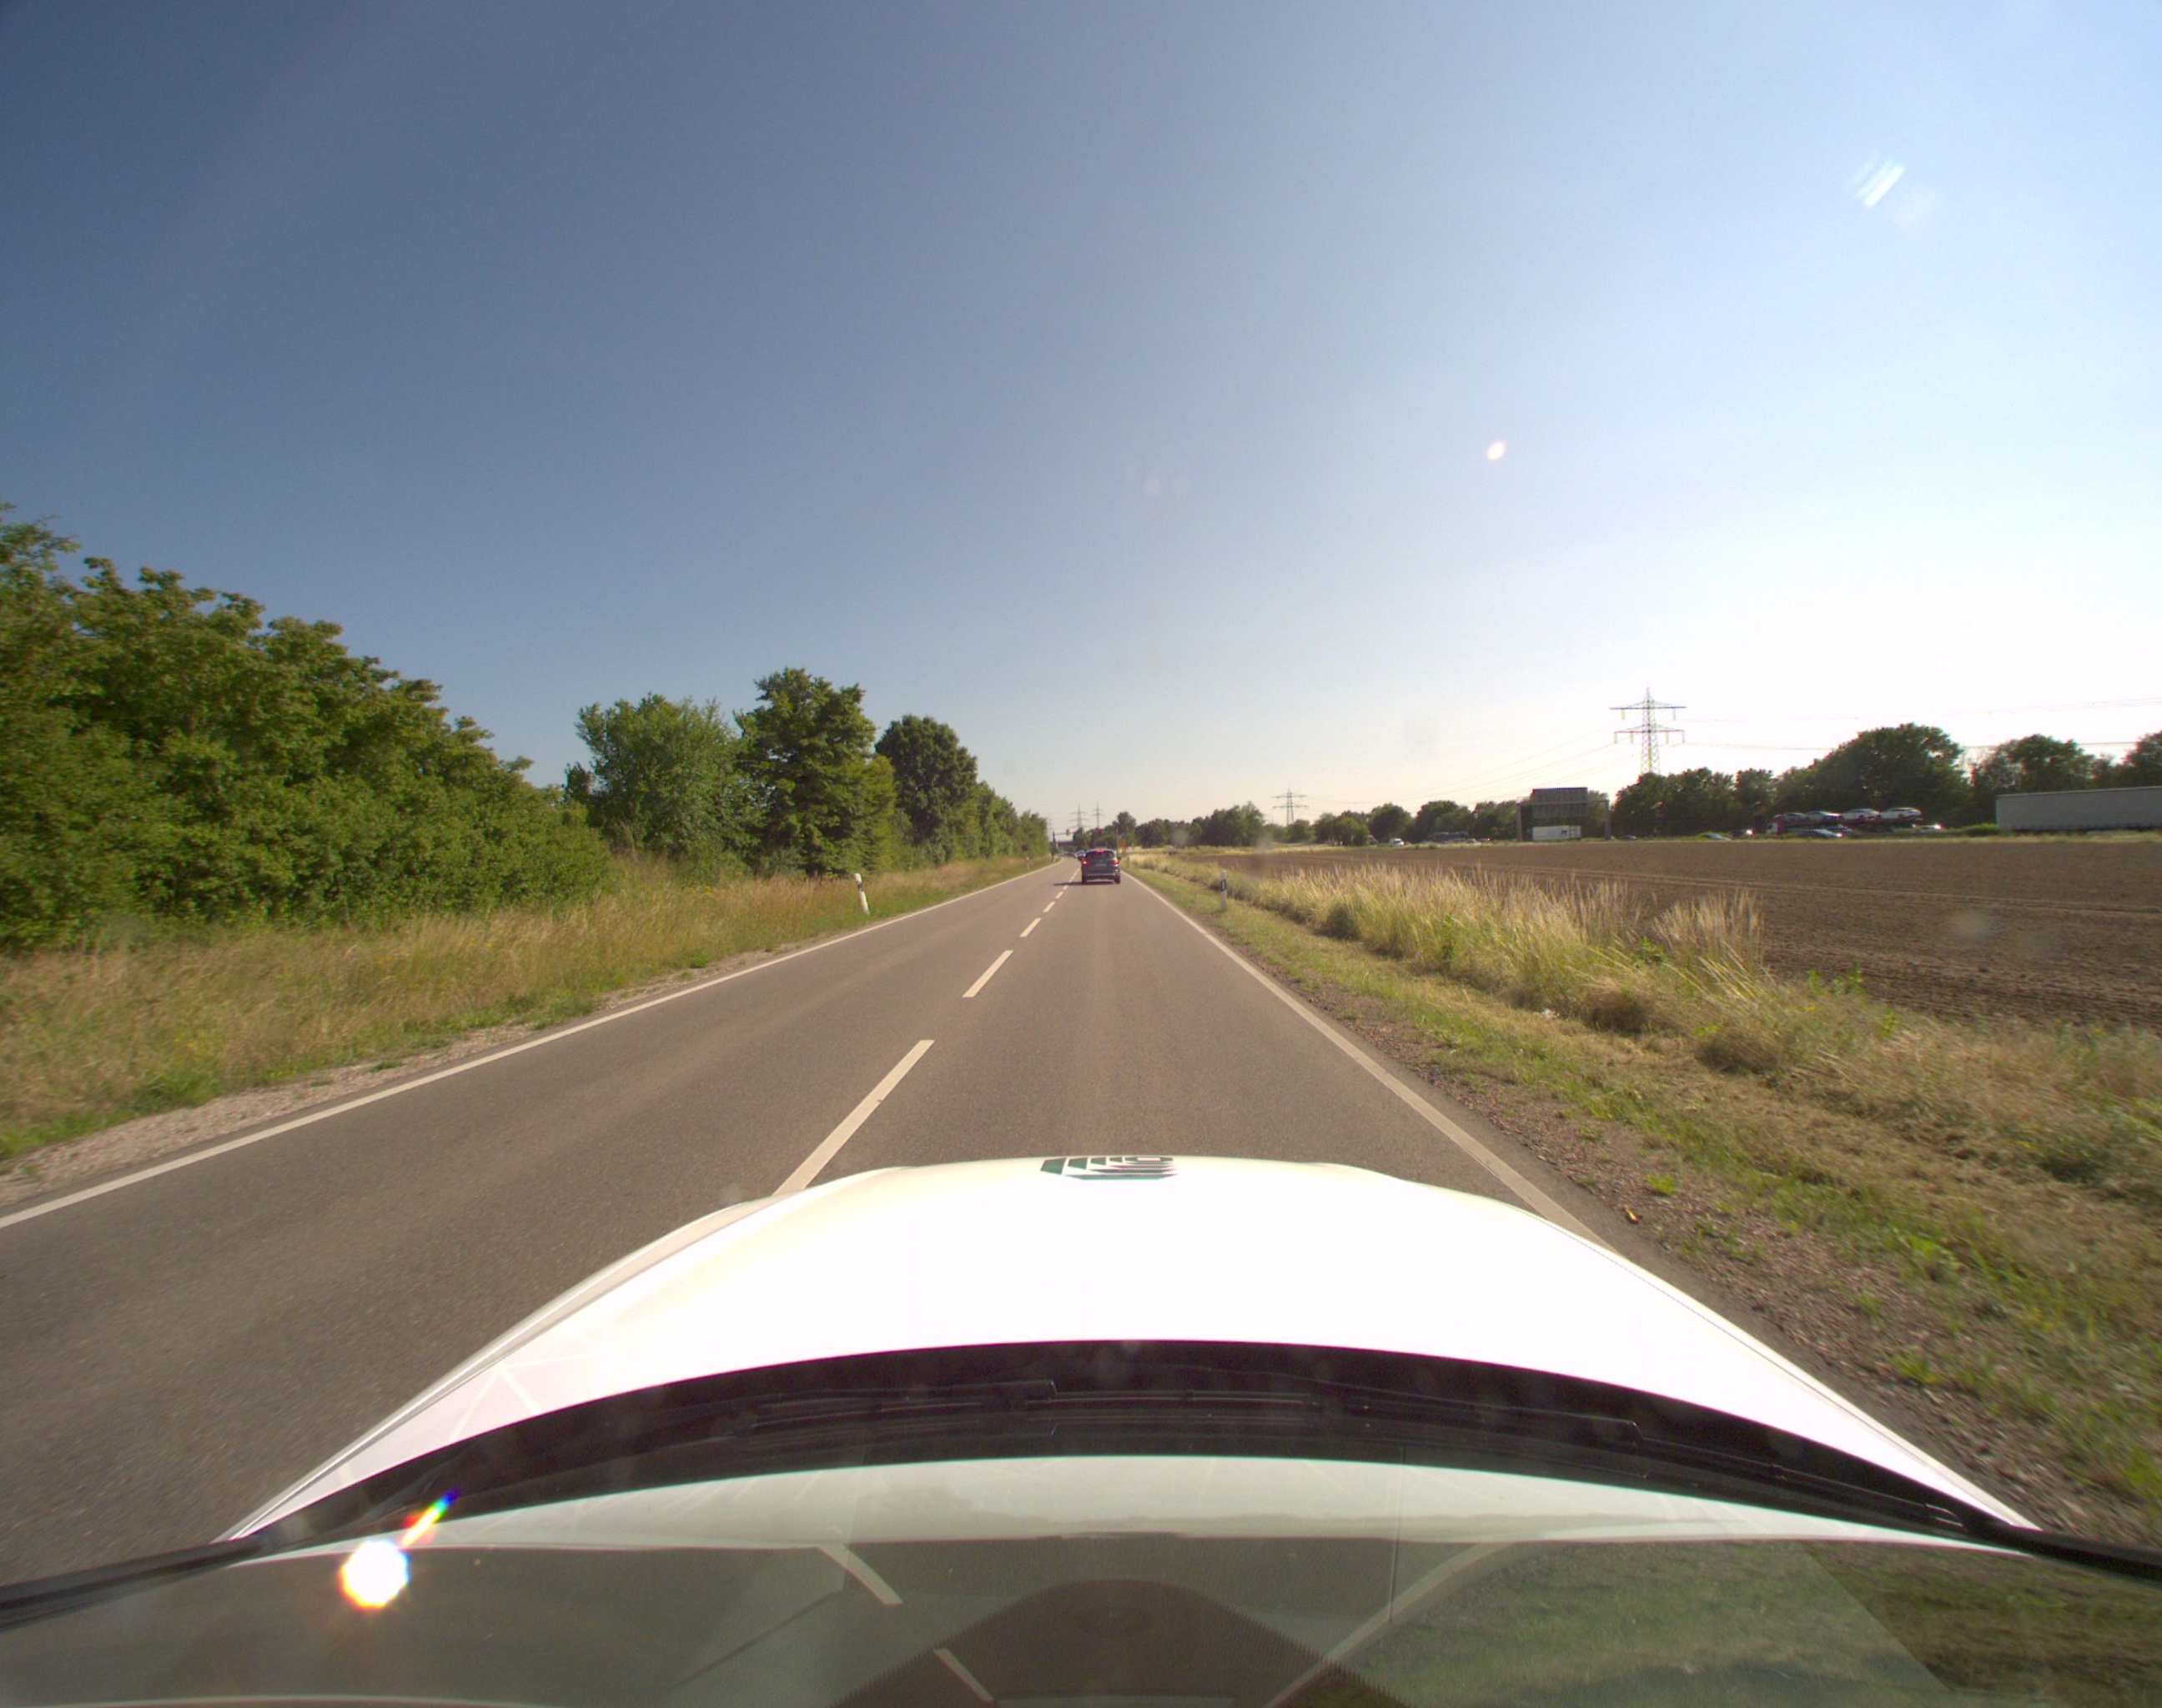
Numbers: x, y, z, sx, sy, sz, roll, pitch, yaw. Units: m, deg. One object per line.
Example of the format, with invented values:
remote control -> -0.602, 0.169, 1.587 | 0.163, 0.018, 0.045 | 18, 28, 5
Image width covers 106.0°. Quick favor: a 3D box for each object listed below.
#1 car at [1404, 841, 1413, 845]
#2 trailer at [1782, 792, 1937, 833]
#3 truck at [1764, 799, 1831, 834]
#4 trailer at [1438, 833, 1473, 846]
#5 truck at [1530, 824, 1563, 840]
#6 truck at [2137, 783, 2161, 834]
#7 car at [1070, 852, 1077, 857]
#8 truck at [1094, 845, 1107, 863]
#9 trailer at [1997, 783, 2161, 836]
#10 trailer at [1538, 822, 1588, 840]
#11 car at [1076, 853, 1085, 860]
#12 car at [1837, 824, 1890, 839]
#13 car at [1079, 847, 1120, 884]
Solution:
car -> 95.638, -3.312, 237.911 | 1.389, 1.151, 3.583 | -1, 1, 1
trailer -> 102.961, -5.328, 108.578 | 3.411, 4.452, 17.555 | -2, 0, -1
truck -> 102.796, -5.320, 117.015 | 3.411, 4.452, 6.703 | -2, 0, -1
trailer -> 101.528, -3.810, 221.066 | 3.274, 3.267, 13.450 | -2, 1, 0
truck -> 103.323, -4.845, 180.909 | 3.274, 3.267, 6.977 | -3, 0, -1
truck -> 84.367, -3.526, 60.396 | 3.094, 3.849, 6.949 | -1, 0, -1
car -> -1.873, 0.189, 213.654 | 1.680, 1.380, 3.530 | -1, 0, -3
truck -> 3.506, -0.054, 144.638 | 2.329, 3.066, 5.811 | -1, 0, 2
trailer -> 84.324, -3.549, 66.711 | 3.094, 3.849, 13.714 | -1, 0, -1
trailer -> 103.337, -4.850, 174.954 | 3.274, 3.267, 12.453 | -3, 0, 0
car -> -0.120, 0.617, 194.045 | 1.812, 1.540, 3.996 | -2, 0, -3
car -> 88.915, -2.523, 92.641 | 1.898, 1.612, 4.476 | 0, 0, 2
car -> 0.856, 0.500, 38.273 | 1.779, 1.629, 4.000 | -2, 0, 0
